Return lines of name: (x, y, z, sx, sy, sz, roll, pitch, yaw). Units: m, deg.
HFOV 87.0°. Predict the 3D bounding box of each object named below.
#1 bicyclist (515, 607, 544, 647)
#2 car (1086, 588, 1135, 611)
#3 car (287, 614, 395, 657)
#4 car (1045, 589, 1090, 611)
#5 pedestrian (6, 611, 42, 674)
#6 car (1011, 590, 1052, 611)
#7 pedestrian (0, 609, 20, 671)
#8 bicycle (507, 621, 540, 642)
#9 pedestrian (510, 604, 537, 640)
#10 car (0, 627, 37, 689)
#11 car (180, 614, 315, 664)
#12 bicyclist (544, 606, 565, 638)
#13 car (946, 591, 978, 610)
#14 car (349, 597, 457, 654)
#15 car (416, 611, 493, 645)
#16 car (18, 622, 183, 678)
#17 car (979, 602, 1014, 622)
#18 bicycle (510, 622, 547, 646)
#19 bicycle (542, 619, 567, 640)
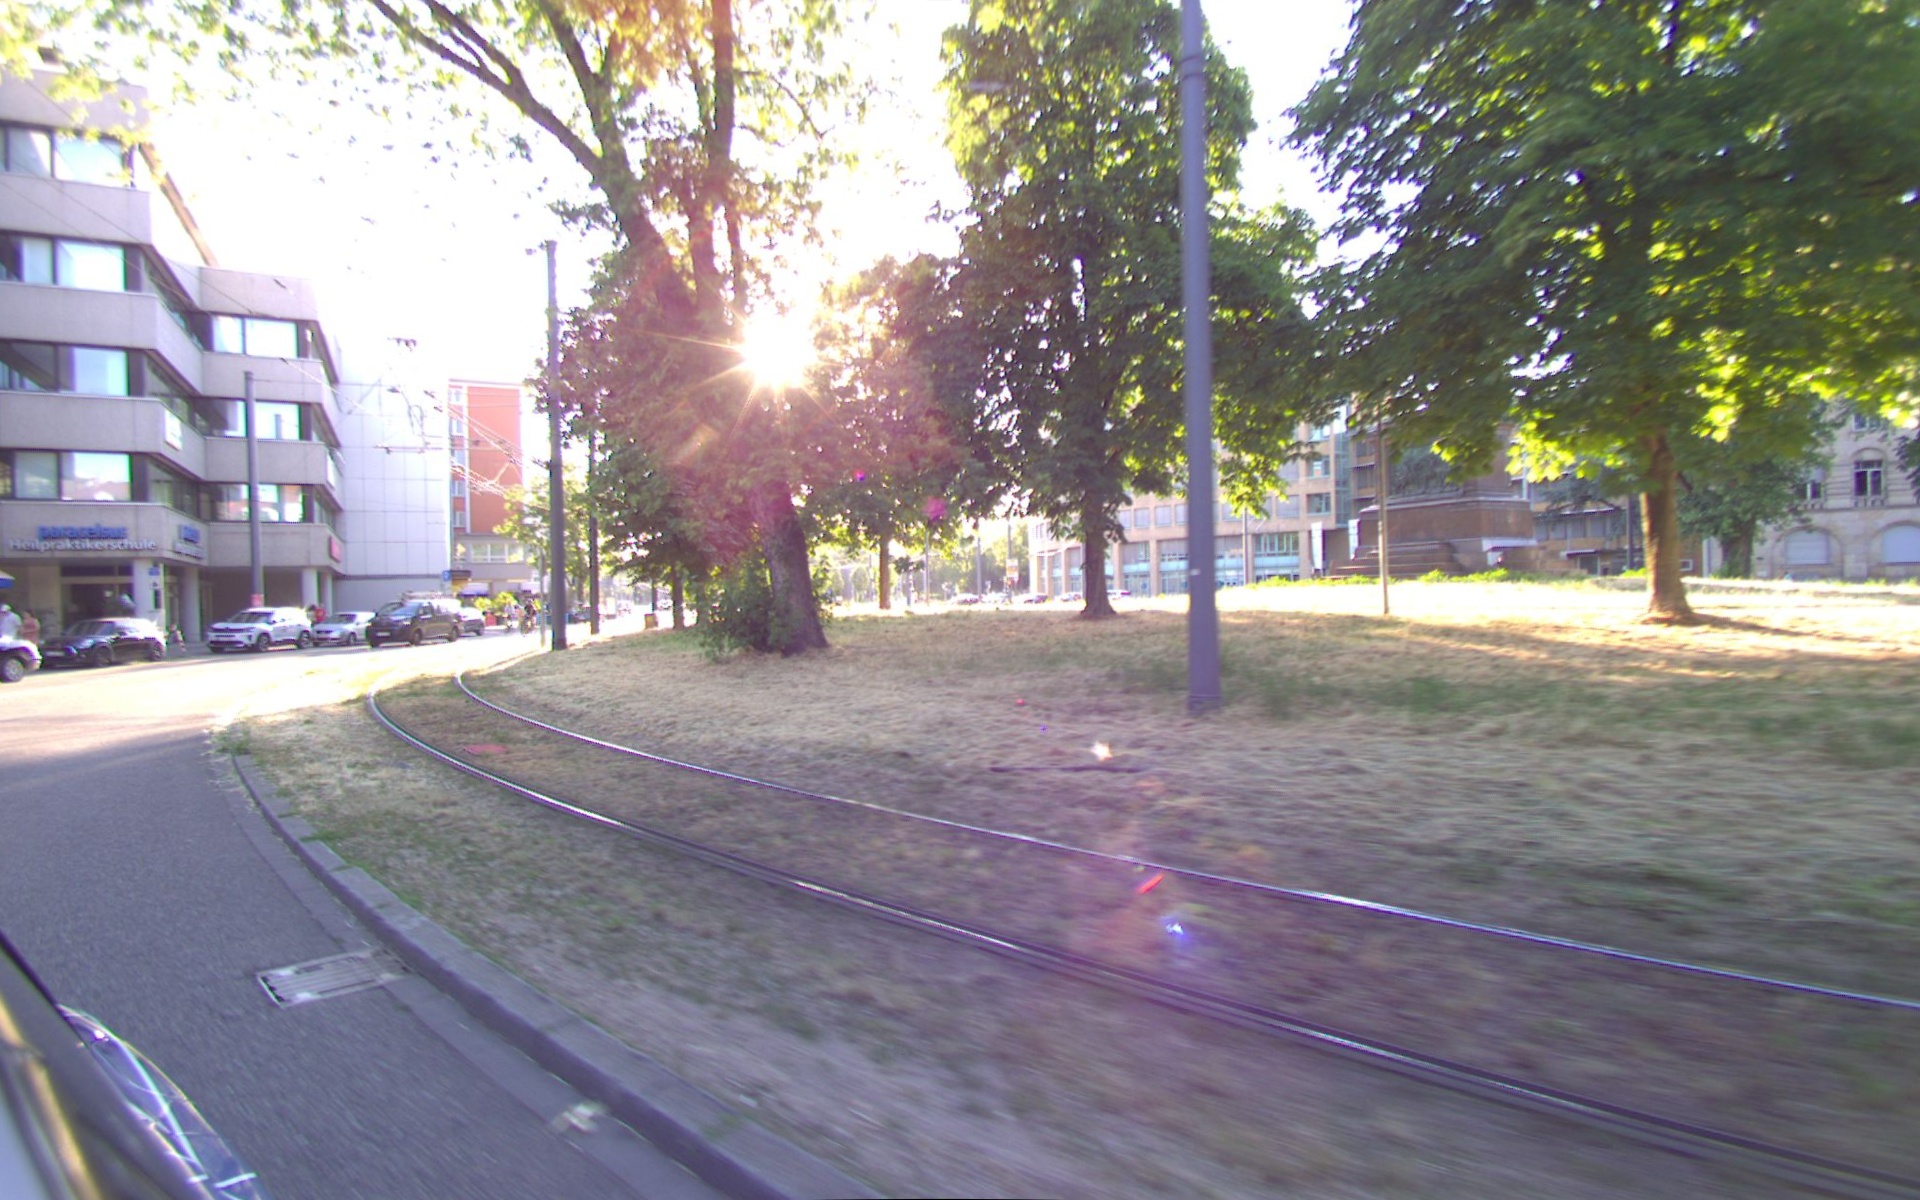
bicyclist: (-21.846, 1.359, 51.342, 0.912, 1.989, 1.113, -2, 0, 0)
car: (13.632, -0.028, 91.858, 1.966, 2.029, 4.563, -2, 1, -29)
car: (-27.366, 1.522, 44.918, 1.972, 1.617, 4.523, -2, 1, 0)
car: (10.318, 0.007, 97.263, 1.966, 2.029, 4.563, -2, 1, -29)
pedestrian: (-28.119, 1.263, 30.394, 0.524, 1.852, 0.501, 3, -2, -14)
car: (7.247, 0.033, 103.191, 1.966, 2.029, 4.563, -2, 1, -29)
pedestrian: (-28.916, 1.200, 30.489, 0.564, 1.852, 0.605, 3, -2, -14)
bicycle: (-25.336, 1.795, 58.777, 0.944, 1.084, 2.221, -2, 1, 0)
pedestrian: (-25.351, 1.256, 58.788, 0.923, 1.987, 1.273, -2, 0, 0)
car: (-23.357, 1.427, 22.260, 1.972, 1.404, 4.523, -2, 1, 0)
car: (-27.399, 1.447, 39.135, 1.972, 1.617, 4.523, -2, 1, 0)
bicyclist: (-23.447, 1.262, 58.548, 0.848, 1.796, 0.987, -1, 0, -6)
car: (0.176, 0.099, 116.679, 1.966, 2.029, 4.012, -2, 1, -29)
car: (-23.158, 0.997, 42.272, 1.972, 2.172, 4.523, -2, 1, 0)
car: (-27.955, 1.502, 56.136, 1.972, 1.617, 4.523, -2, 1, 0)
car: (-26.614, 1.496, 31.517, 1.769, 1.453, 4.001, -2, 1, -1)
car: (3.915, 1.296, 109.593, 1.966, 2.029, 4.012, -2, 1, -29)
bicycle: (-21.835, 1.704, 51.283, 0.923, 1.084, 2.221, -2, 1, 0)
bicycle: (-23.423, 1.697, 58.488, 0.860, 1.105, 1.853, -2, 1, -6)
